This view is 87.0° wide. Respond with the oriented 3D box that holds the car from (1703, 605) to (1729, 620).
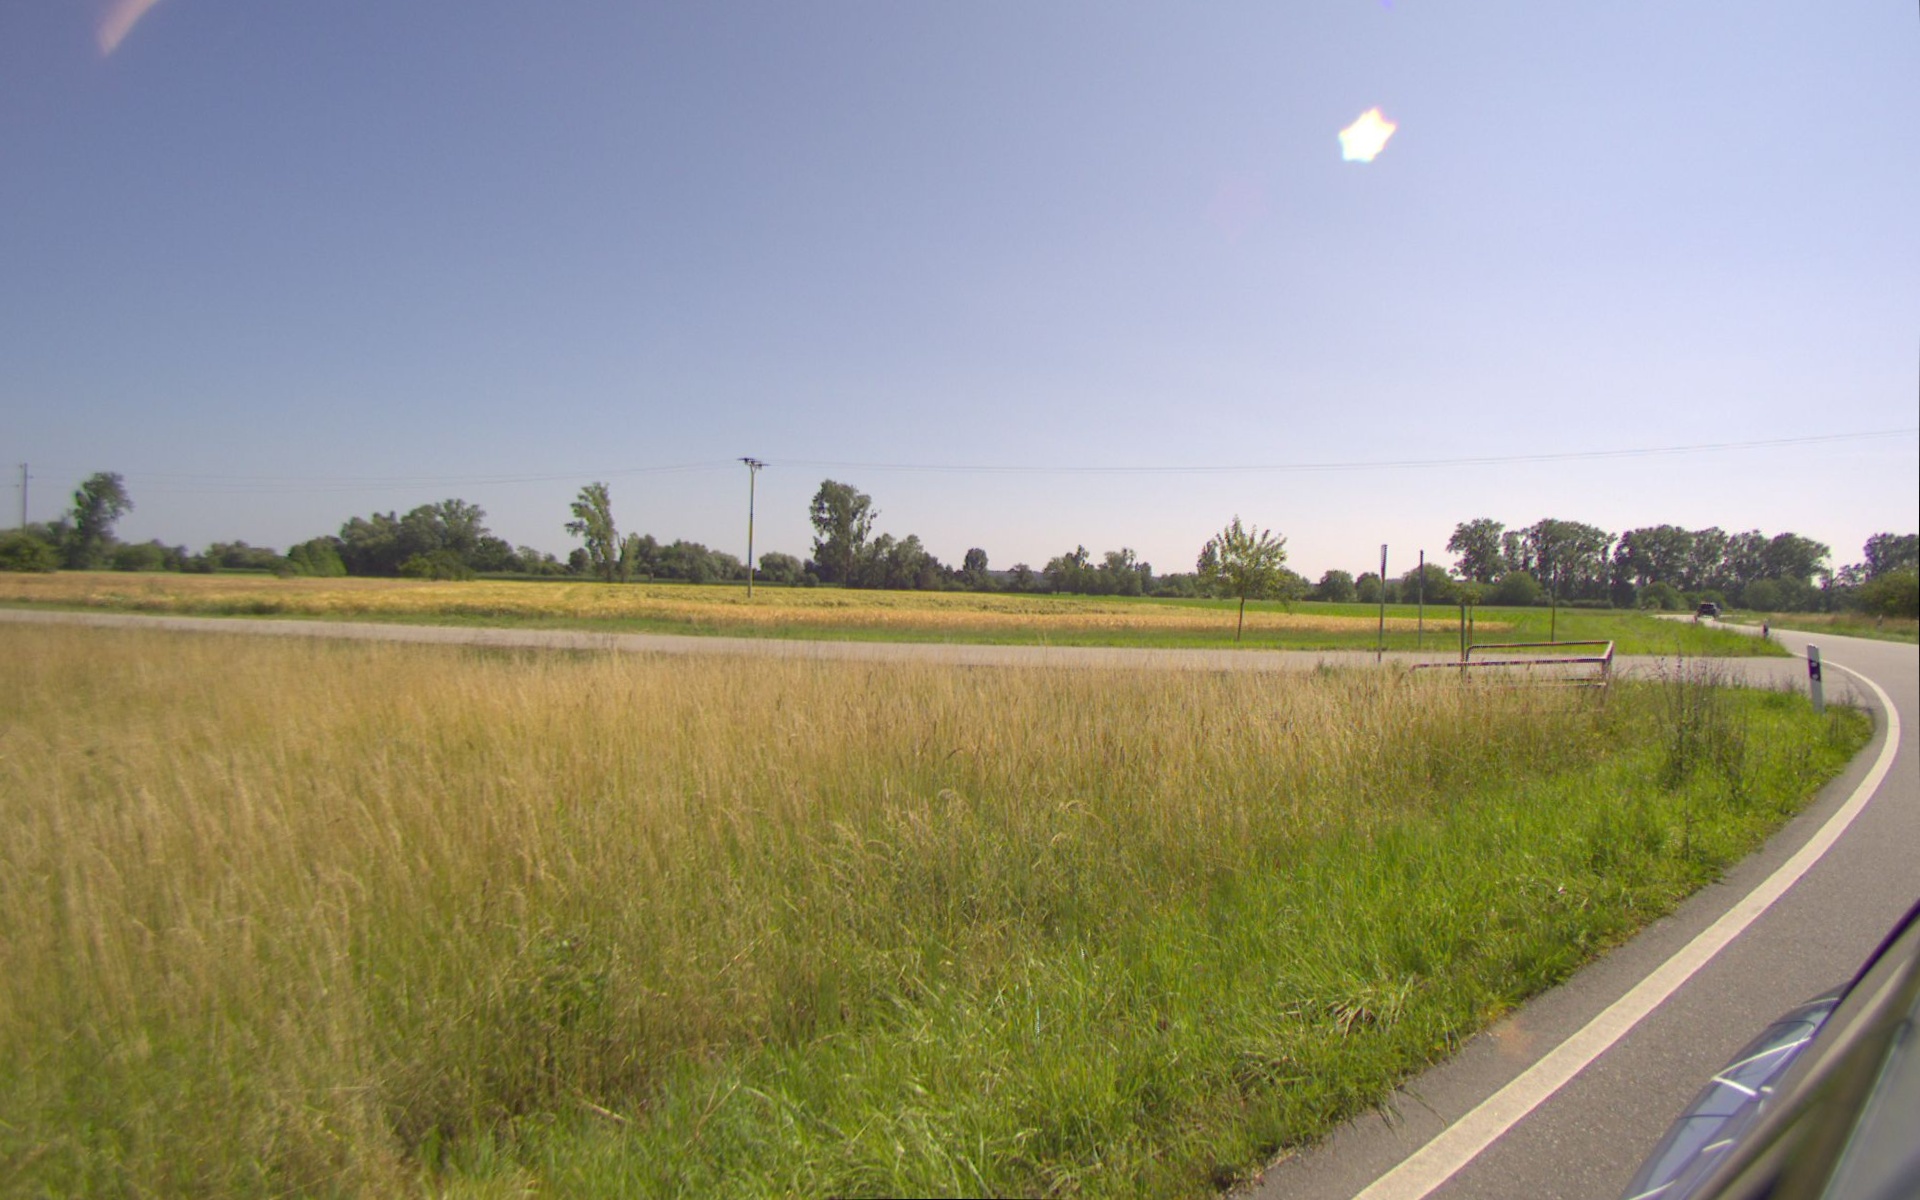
[{"bbox_3d":[90.426,1.496,121.011,4.226,1.774,1.867,1,1,-45],"label":"car"}]
